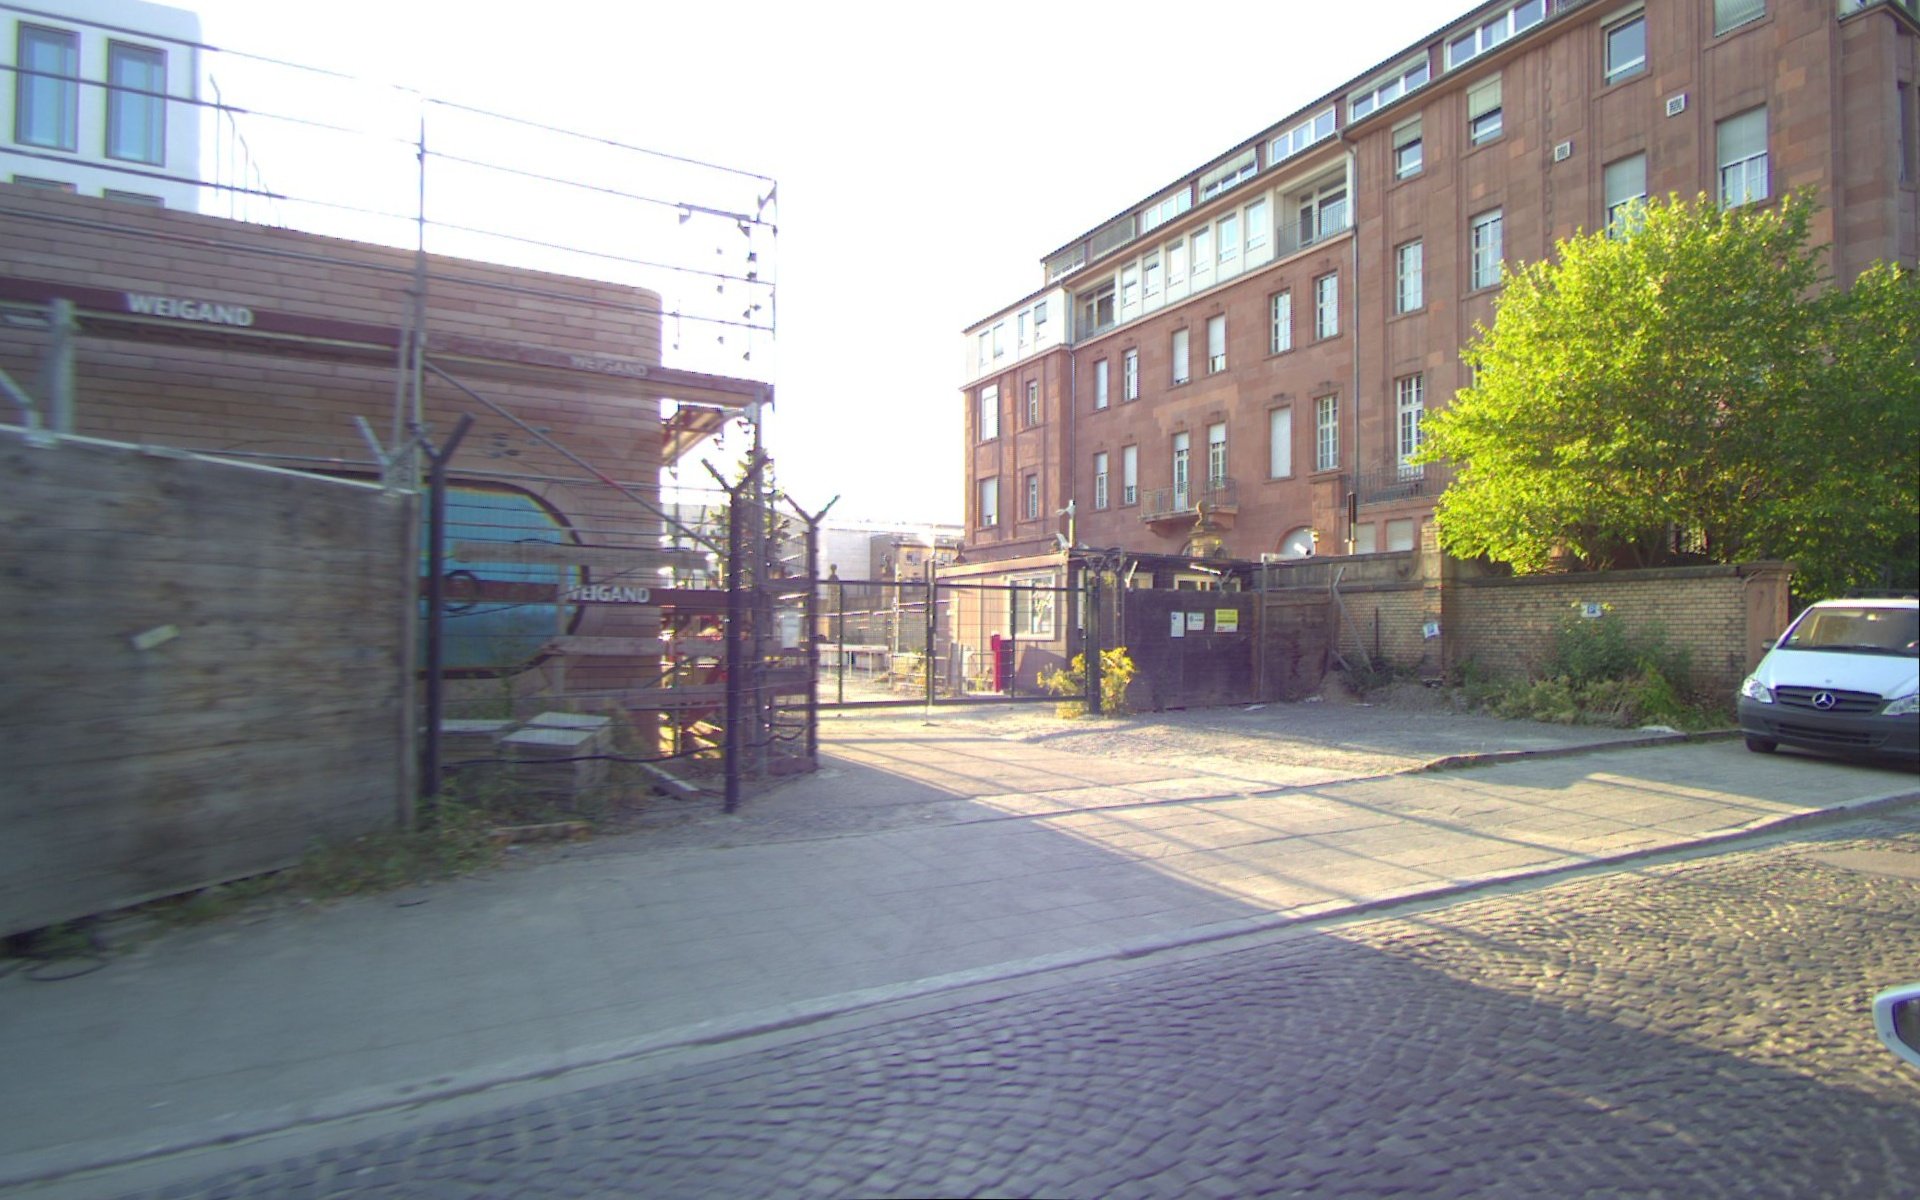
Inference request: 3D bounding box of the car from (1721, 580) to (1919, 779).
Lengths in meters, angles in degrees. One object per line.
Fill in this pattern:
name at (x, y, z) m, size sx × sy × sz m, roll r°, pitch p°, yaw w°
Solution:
car at (11.607, 0.908, 12.320) m, size 5.168 × 2.040 × 1.872 m, roll 3°, pitch -1°, yaw -32°
